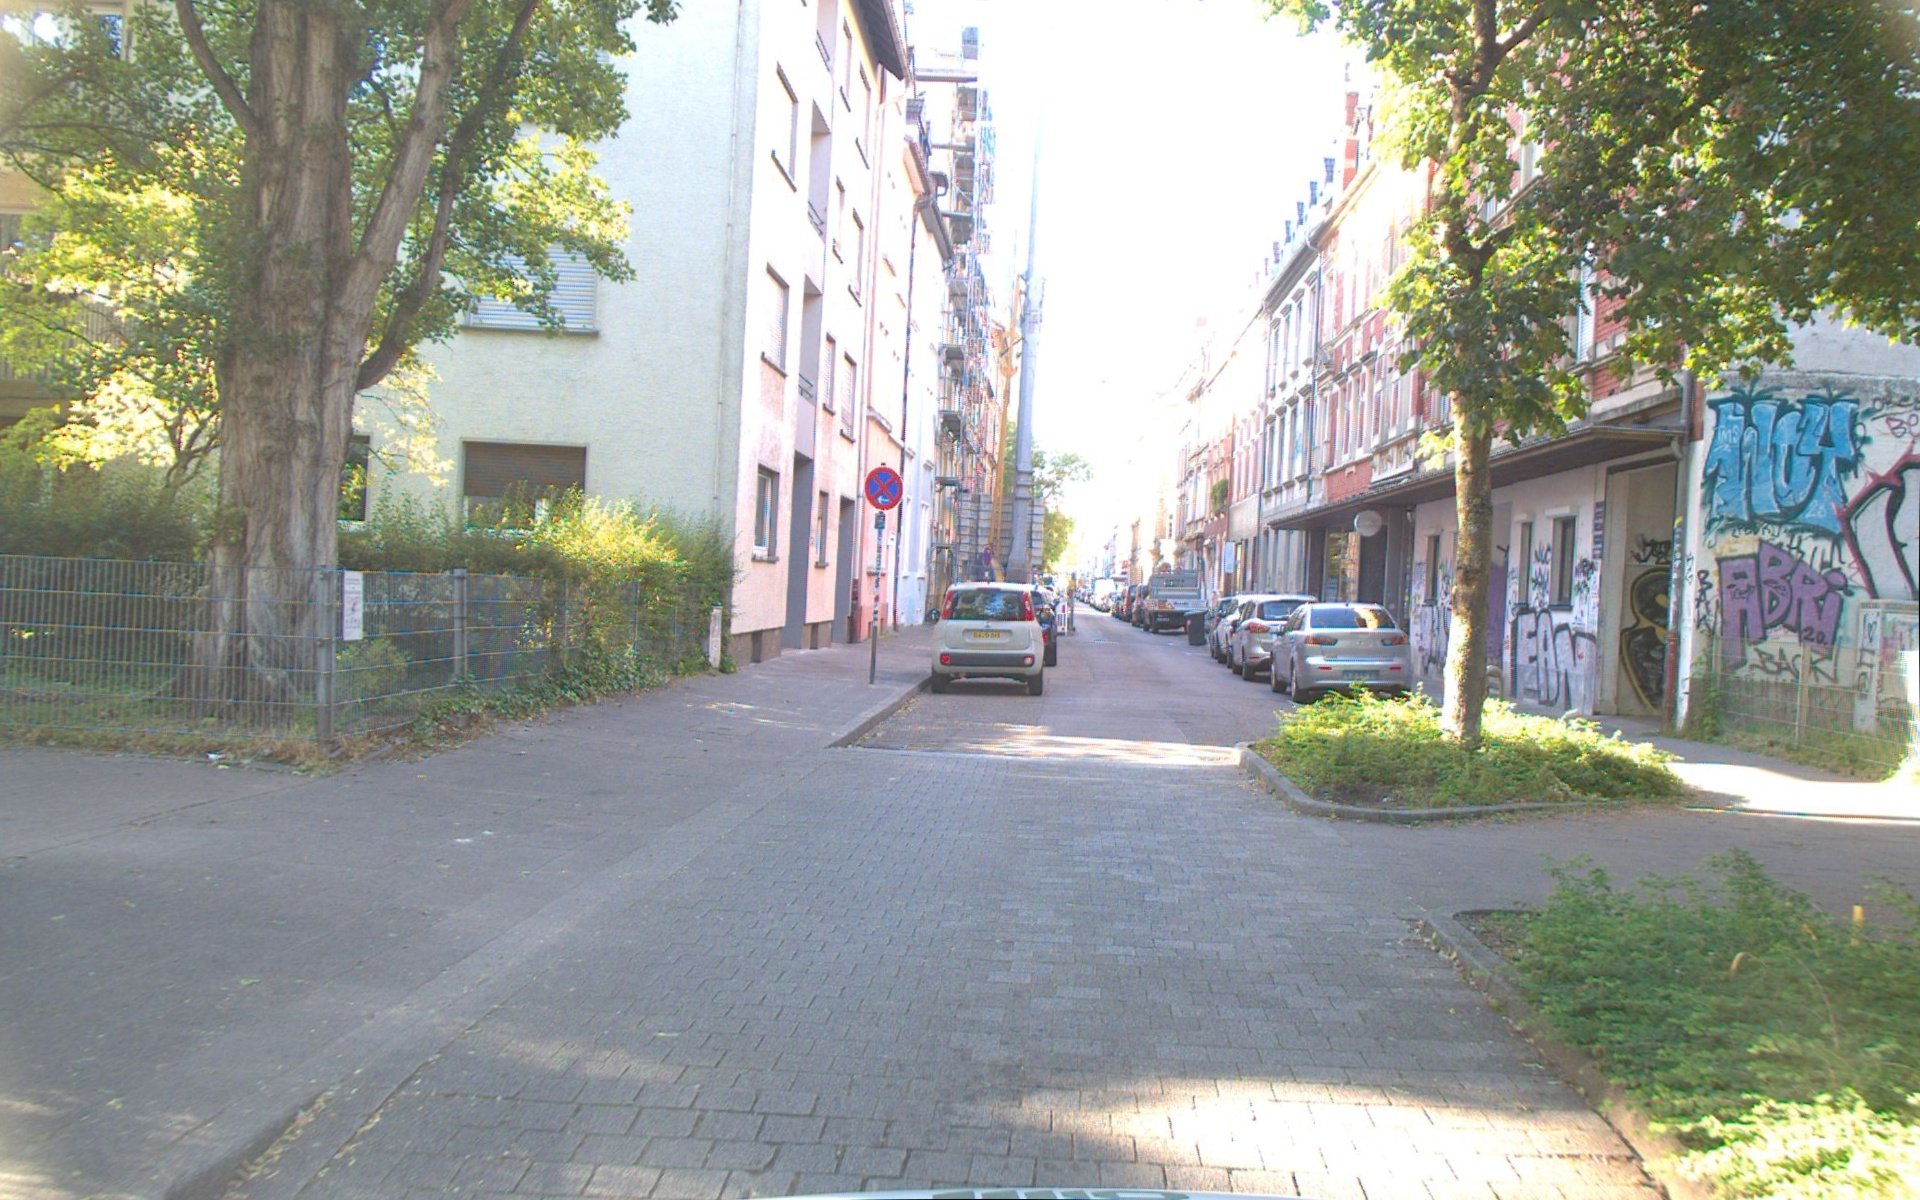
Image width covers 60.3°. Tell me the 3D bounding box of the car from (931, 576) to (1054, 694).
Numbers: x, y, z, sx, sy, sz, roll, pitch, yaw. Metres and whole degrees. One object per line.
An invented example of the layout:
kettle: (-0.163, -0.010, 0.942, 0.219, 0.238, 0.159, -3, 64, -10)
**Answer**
car: (0.488, 0.468, 24.553, 1.640, 1.566, 3.870, 1, 0, 1)

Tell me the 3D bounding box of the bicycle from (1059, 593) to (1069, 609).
bicycle: (8.307, 0.088, 131.662, 0.709, 1.207, 2.043, 3, 1, 4)

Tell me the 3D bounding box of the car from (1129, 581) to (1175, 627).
car: (8.736, 0.165, 75.521, 1.640, 1.997, 4.109, 2, 0, 1)

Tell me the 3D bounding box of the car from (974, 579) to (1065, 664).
car: (1.165, 0.403, 33.392, 1.693, 1.566, 4.378, 1, 0, 1)

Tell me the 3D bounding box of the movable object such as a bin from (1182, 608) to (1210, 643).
movable object such as a bin: (7.535, 0.819, 52.780, 0.778, 1.074, 0.660, 2, 0, 3)

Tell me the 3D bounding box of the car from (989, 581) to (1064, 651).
car: (1.605, 0.345, 38.973, 1.640, 1.538, 4.416, 1, 0, 3)

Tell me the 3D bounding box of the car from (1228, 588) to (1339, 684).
car: (6.221, 0.652, 32.170, 1.605, 1.685, 3.871, 3, 0, 4)

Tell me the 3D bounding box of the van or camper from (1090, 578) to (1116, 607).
van or camper: (13.325, -0.699, 154.461, 1.953, 2.552, 4.202, 1, 0, -1)

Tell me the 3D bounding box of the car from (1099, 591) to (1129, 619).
car: (11.709, 0.358, 125.868, 1.952, 2.049, 4.001, 2, 0, 2)

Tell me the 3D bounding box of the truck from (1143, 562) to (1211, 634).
truck: (8.474, -0.096, 65.011, 2.144, 2.652, 5.236, 1, 0, 2)

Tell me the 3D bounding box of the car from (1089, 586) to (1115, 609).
car: (12.057, -0.238, 140.345, 1.952, 1.881, 4.001, 1, 0, 2)

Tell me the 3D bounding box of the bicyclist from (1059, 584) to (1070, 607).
bicyclist: (8.322, -0.339, 131.616, 0.715, 1.792, 0.836, 3, 1, 4)

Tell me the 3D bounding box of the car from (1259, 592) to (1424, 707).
car: (5.890, 0.709, 26.033, 1.685, 1.589, 4.400, 3, 0, 2)

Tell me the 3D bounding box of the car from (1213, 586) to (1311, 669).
car: (6.825, 0.592, 37.699, 1.710, 1.705, 4.343, 2, 0, 4)

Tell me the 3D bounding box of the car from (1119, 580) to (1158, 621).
car: (9.485, 0.023, 88.000, 1.640, 2.066, 3.870, 2, 0, 1)

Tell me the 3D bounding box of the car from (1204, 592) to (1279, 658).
car: (7.276, 0.615, 43.008, 1.563, 1.587, 3.816, 2, 0, 5)

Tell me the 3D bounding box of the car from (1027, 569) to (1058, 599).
car: (4.815, -0.920, 96.438, 1.640, 1.598, 3.870, 2, 0, 1)

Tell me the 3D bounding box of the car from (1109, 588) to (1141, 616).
car: (10.102, 0.122, 101.390, 1.640, 1.598, 3.870, 2, 0, 1)
